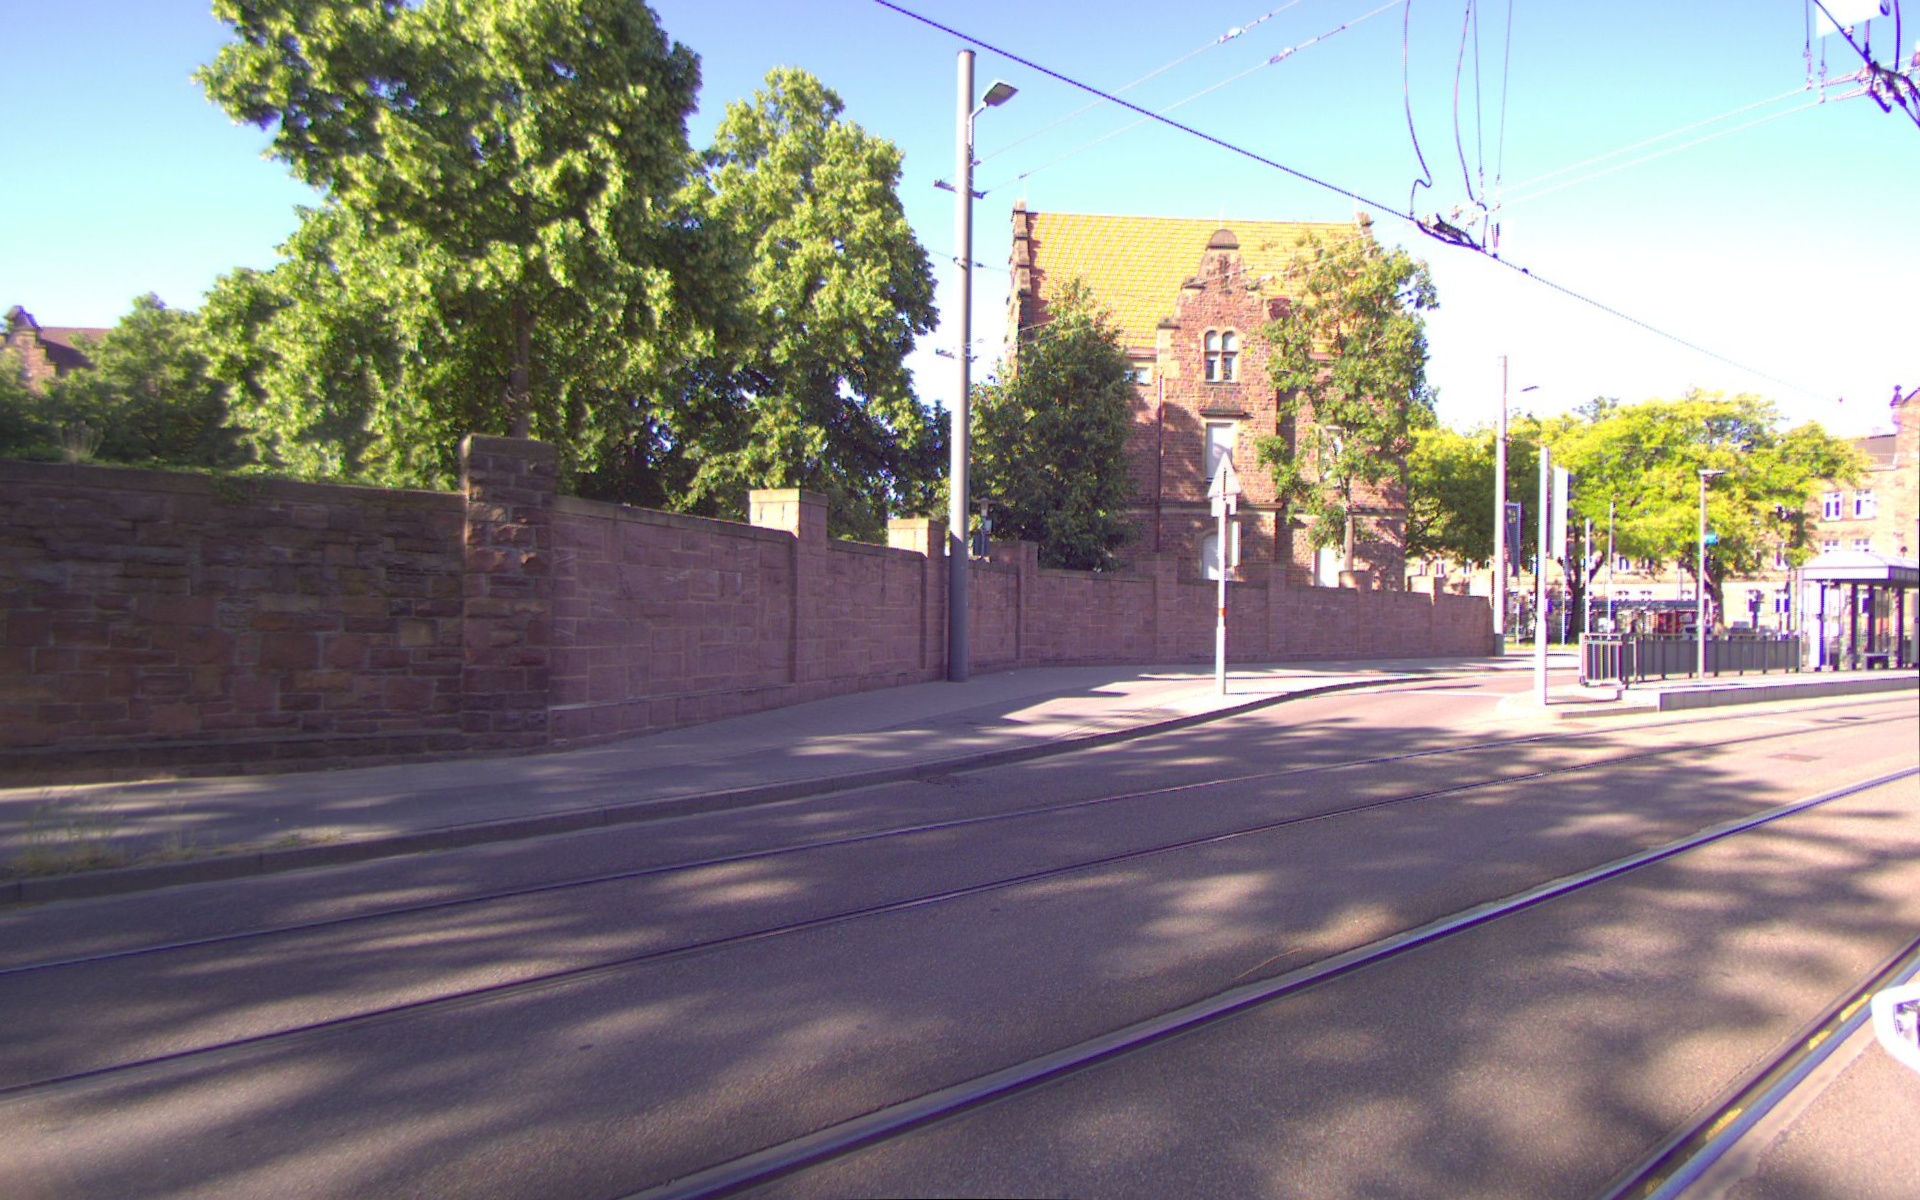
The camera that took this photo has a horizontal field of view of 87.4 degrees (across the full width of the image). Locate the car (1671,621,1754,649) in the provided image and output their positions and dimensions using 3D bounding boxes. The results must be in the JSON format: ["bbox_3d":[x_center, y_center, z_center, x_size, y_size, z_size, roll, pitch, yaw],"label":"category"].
[{"bbox_3d":[49.169,2.247,65.676,1.798,1.651,3.964,2,0,-32],"label":"car"}]

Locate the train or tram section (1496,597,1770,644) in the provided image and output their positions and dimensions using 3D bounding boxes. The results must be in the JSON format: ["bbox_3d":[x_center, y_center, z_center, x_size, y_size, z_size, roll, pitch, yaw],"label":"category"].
[{"bbox_3d":[50.018,1.465,75.881,3.312,3.196,17.280,2,-1,-33],"label":"train or tram section"}]

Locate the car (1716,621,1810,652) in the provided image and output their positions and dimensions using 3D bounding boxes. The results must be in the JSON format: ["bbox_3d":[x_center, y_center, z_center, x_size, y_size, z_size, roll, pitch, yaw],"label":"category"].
[{"bbox_3d":[47.745,2.164,59.792,1.798,1.651,3.964,2,0,-32],"label":"car"}]
